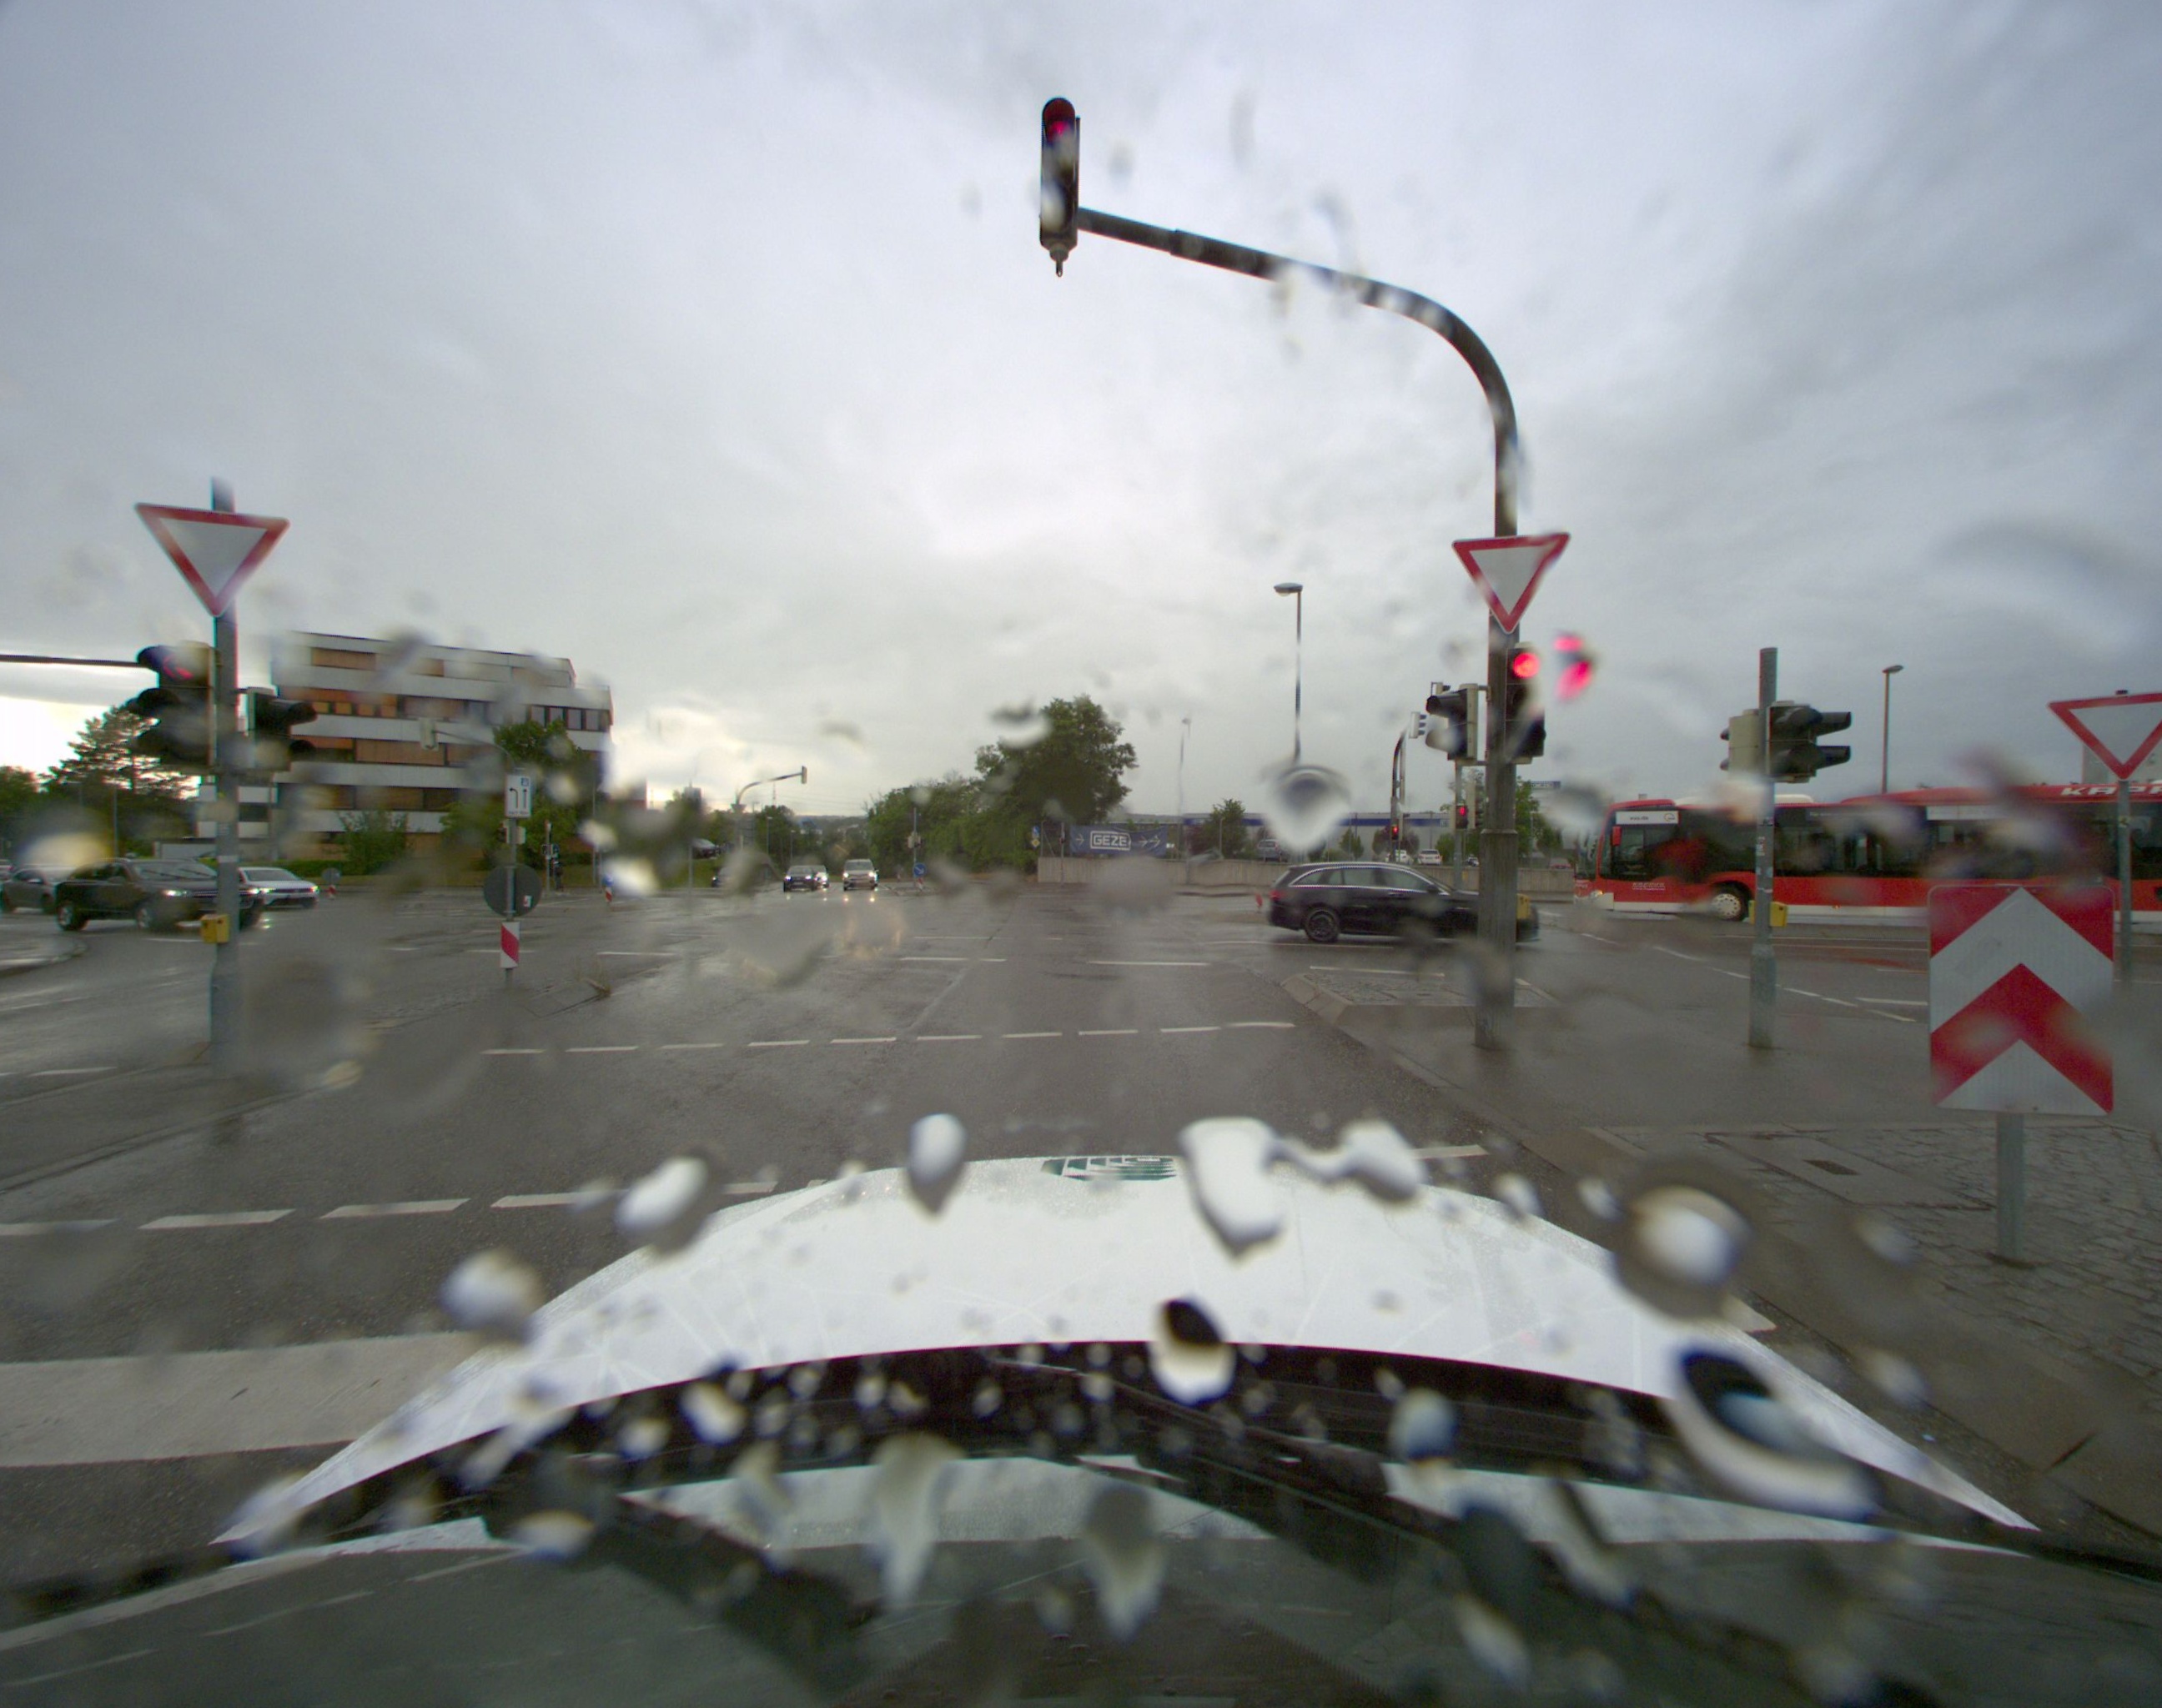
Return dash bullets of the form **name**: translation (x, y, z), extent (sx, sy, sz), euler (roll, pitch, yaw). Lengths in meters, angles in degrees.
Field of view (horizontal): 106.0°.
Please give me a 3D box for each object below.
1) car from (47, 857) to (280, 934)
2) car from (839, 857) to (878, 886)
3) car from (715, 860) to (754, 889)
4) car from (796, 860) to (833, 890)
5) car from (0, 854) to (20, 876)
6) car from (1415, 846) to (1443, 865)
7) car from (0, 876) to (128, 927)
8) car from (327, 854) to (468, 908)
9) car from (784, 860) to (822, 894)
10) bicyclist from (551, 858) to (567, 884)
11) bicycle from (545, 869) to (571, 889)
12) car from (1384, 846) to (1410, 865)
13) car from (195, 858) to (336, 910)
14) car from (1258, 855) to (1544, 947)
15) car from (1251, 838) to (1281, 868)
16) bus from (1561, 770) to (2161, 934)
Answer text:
- **car**: translation (-22.496, 0.955, 20.015), extent (4.561, 1.702, 2.009), euler (0, 0, 16)
- **car**: translation (-13.100, 1.005, 48.125), extent (1.995, 1.618, 3.983), euler (0, 0, -13)
- **car**: translation (-24.320, 1.397, 57.238), extent (1.997, 1.895, 3.979), euler (0, 0, -15)
- **car**: translation (-18.265, 1.421, 55.996), extent (1.996, 1.895, 3.983), euler (0, 0, -13)
- **car**: translation (-82.457, 0.838, 61.855), extent (3.948, 1.596, 1.969), euler (0, 0, 33)
- **car**: translation (28.690, 0.106, 67.176), extent (1.976, 1.478, 4.021), euler (0, 0, 21)
- **car**: translation (-32.664, 1.451, 25.752), extent (4.104, 1.416, 1.937), euler (0, 0, 20)
- **car**: translation (-24.955, 0.939, 29.777), extent (4.108, 1.840, 2.009), euler (0, 0, 17)
- **car**: translation (-16.605, 1.312, 48.793), extent (1.998, 1.895, 3.978), euler (0, 0, -16)
- **bicyclist**: translation (-29.093, 0.932, 45.370), extent (0.538, 1.446, 0.607), euler (0, 0, 35)
- **bicycle**: translation (-29.207, 1.394, 45.449), extent (1.757, 1.052, 0.614), euler (0, 0, 36)
- **car**: translation (26.384, 0.097, 67.855), extent (1.976, 1.478, 4.021), euler (0, 0, 22)
- **car**: translation (-28.398, 0.994, 28.368), extent (3.953, 1.684, 2.010), euler (0, 0, 21)
- **car**: translation (5.712, 0.774, 15.026), extent (4.623, 1.476, 2.009), euler (0, 0, 17)
- **car**: translation (13.098, -0.076, 57.554), extent (1.979, 2.013, 4.015), euler (0, 0, 13)
- **bus**: translation (18.672, -0.123, 19.291), extent (12.176, 3.321, 3.090), euler (1, 0, 19)
